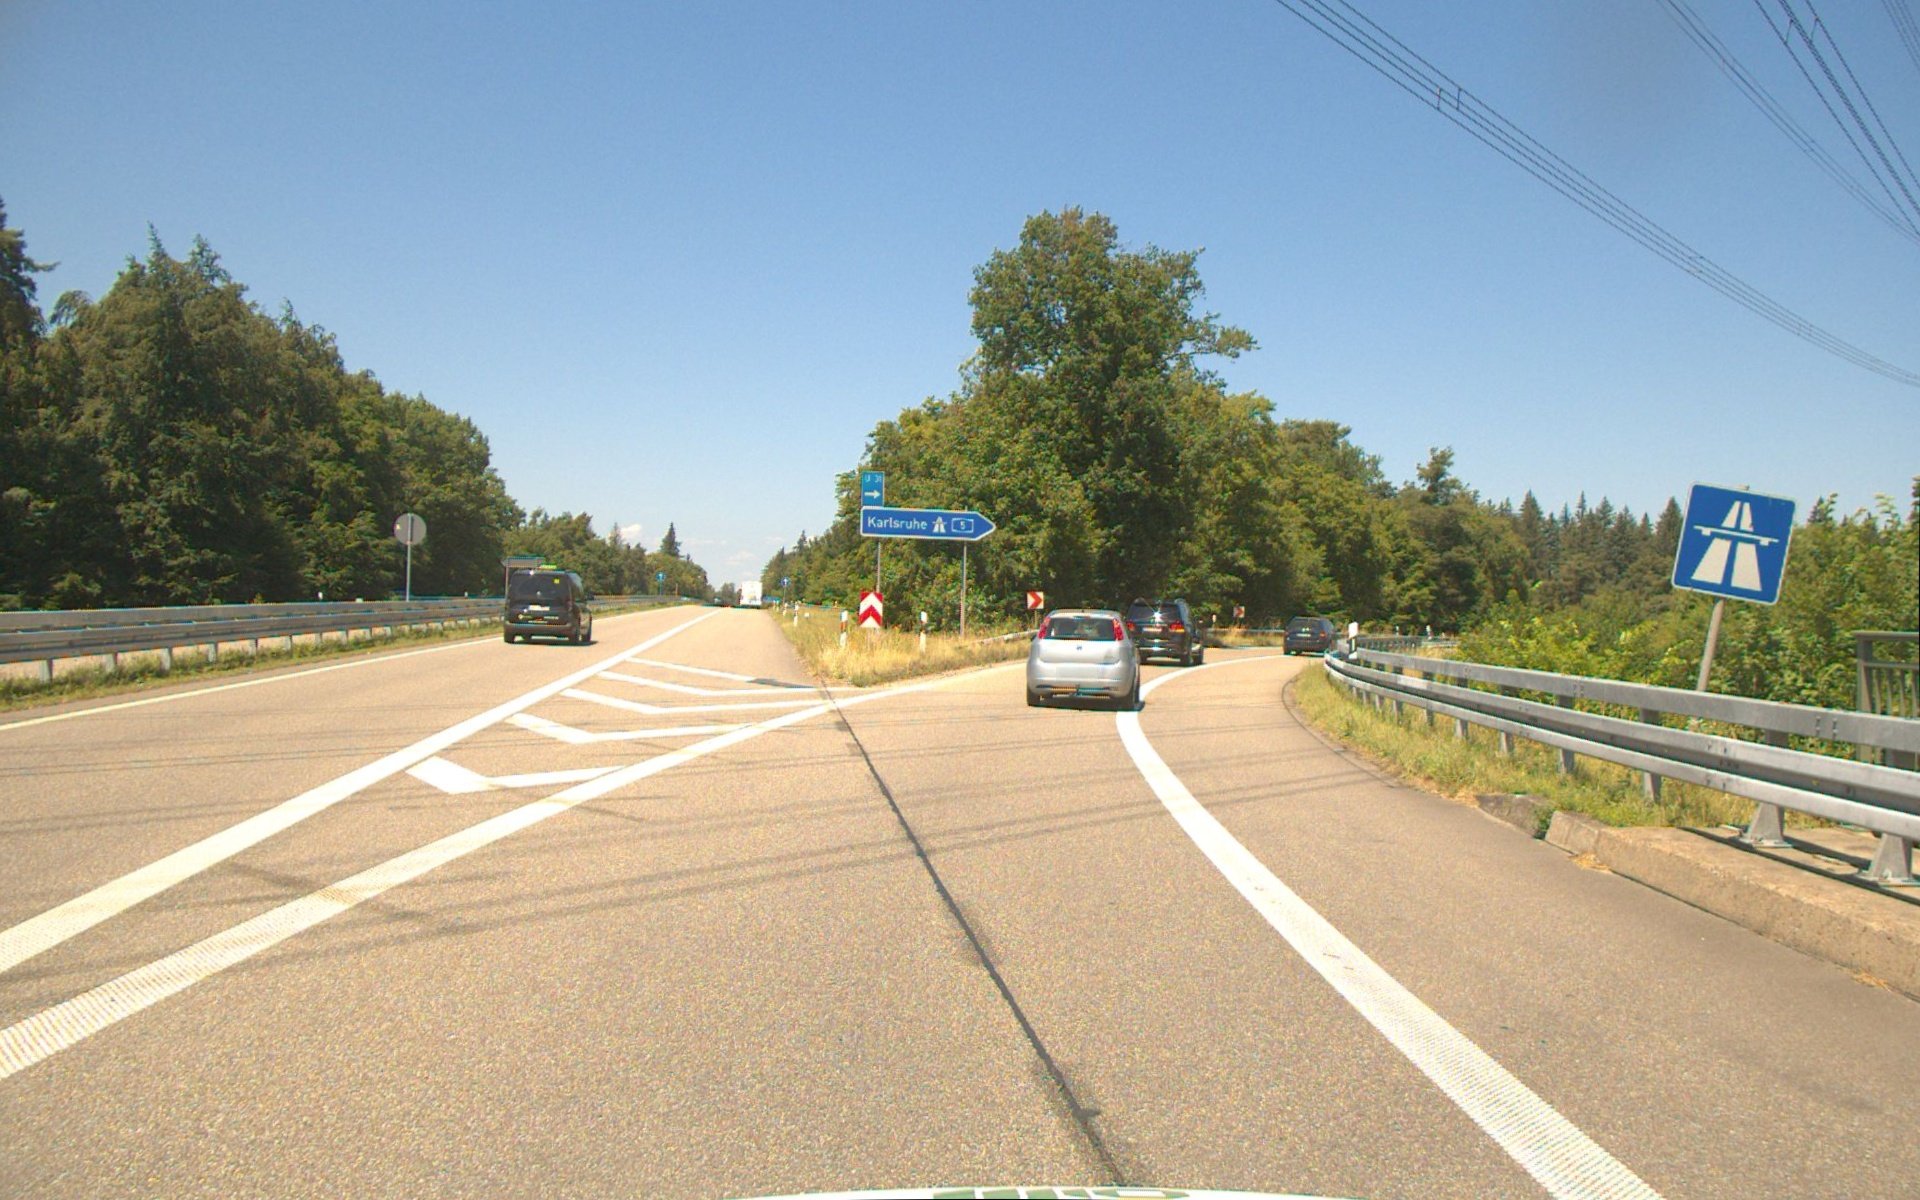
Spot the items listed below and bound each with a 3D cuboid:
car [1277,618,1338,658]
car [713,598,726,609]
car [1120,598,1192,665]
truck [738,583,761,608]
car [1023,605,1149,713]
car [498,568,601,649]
[{"bbox_3d":[13.187,1.434,62.629,1.607,1.366,3.573,3,0,22],"label":"car"},{"bbox_3d":[-34.169,0.518,235.149,1.680,1.497,3.569,3,0,-7],"label":"car"},{"bbox_3d":[5.418,0.858,45.461,1.605,1.682,3.577,3,0,11],"label":"car"},{"bbox_3d":[-24.052,-0.503,189.199,2.569,2.688,7.654,1,0,-7],"label":"truck"},{"bbox_3d":[2.047,0.883,26.023,1.605,1.493,3.422,3,0,10],"label":"car"},{"bbox_3d":[-10.456,0.196,42.462,1.819,1.920,5.565,0,0,-6],"label":"car"}]
